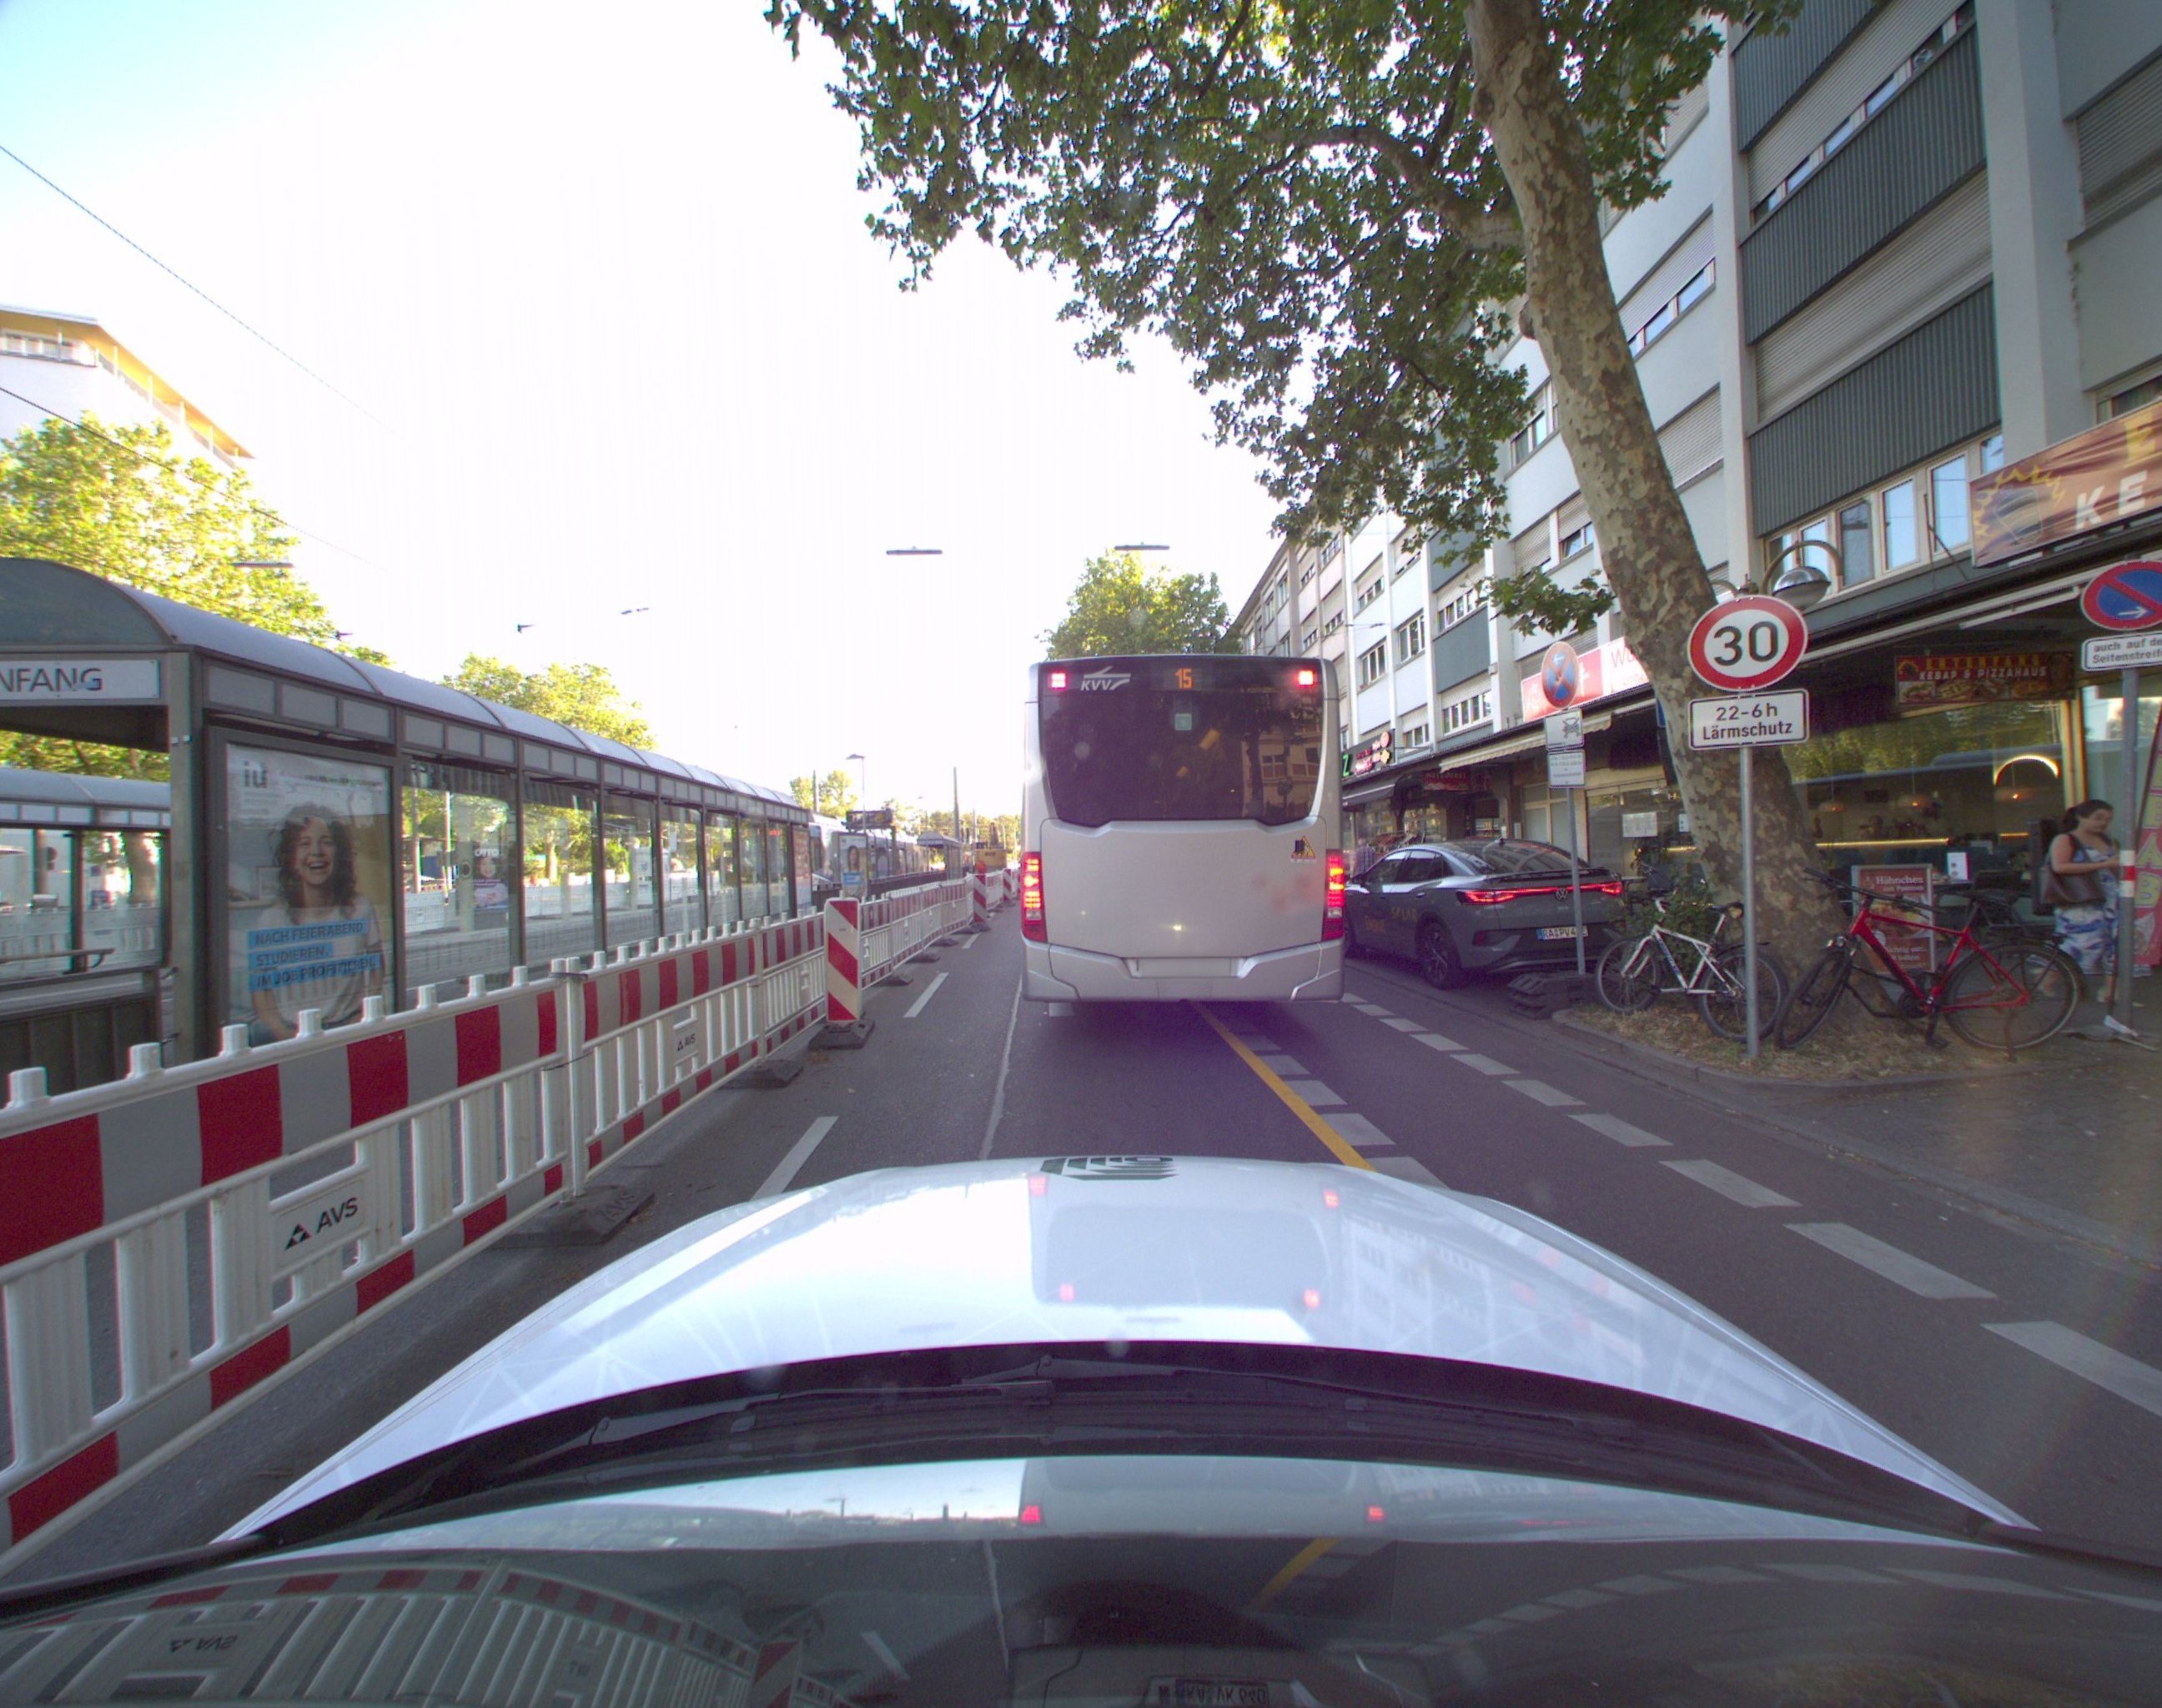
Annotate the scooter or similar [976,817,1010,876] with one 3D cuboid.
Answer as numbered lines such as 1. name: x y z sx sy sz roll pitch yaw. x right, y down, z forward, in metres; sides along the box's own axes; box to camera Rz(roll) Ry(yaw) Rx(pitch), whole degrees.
1. scooter or similar: -7.018 -0.549 65.172 2.465 4.471 5.961 -2 0 -5

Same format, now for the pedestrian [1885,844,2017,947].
1. pedestrian: 9.854 0.453 9.235 0.643 1.081 0.945 -2 -1 -39

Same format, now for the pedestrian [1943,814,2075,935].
1. pedestrian: 11.019 0.230 9.680 0.836 1.333 0.963 -2 -1 -39

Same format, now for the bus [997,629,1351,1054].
1. bus: 0.809 -0.070 10.009 2.601 3.126 7.996 0 0 2

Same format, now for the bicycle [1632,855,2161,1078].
1. bicycle: 5.056 0.722 5.220 2.370 1.155 0.557 -7 -2 14

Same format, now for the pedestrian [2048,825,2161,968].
1. pedestrian: 9.718 0.375 7.579 0.555 1.245 0.692 -4 0 8

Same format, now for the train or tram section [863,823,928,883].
1. train or tram section: -11.933 -0.020 53.414 2.683 3.533 11.558 0 -1 -6

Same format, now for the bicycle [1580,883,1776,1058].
1. bicycle: 4.571 0.836 6.361 0.550 1.155 1.446 -2 -1 6

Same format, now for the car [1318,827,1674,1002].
1. car: 4.725 0.584 10.180 1.989 1.582 4.364 -4 0 -3

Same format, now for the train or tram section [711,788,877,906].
1. train or tram section: -10.123 -0.174 30.399 2.681 3.534 11.756 0 -1 -3

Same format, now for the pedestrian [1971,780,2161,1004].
1. pedestrian: 7.797 0.283 6.443 0.580 1.646 0.796 -2 -1 0

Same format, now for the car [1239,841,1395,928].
1. car: 5.112 0.606 18.365 1.989 1.582 4.364 -4 0 -3

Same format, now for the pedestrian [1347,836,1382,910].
1. pedestrian: 6.584 0.439 18.948 0.658 1.666 0.603 -4 -1 18

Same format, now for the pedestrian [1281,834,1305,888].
1. pedestrian: 8.138 0.273 31.256 0.683 2.014 0.786 -2 -1 1

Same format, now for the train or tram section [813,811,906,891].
1. train or tram section: -11.071 -0.101 41.925 2.682 3.558 11.559 0 -1 -5

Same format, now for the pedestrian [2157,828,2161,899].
1. pedestrian: 9.539 0.383 6.635 0.556 1.245 0.691 -3 0 3
